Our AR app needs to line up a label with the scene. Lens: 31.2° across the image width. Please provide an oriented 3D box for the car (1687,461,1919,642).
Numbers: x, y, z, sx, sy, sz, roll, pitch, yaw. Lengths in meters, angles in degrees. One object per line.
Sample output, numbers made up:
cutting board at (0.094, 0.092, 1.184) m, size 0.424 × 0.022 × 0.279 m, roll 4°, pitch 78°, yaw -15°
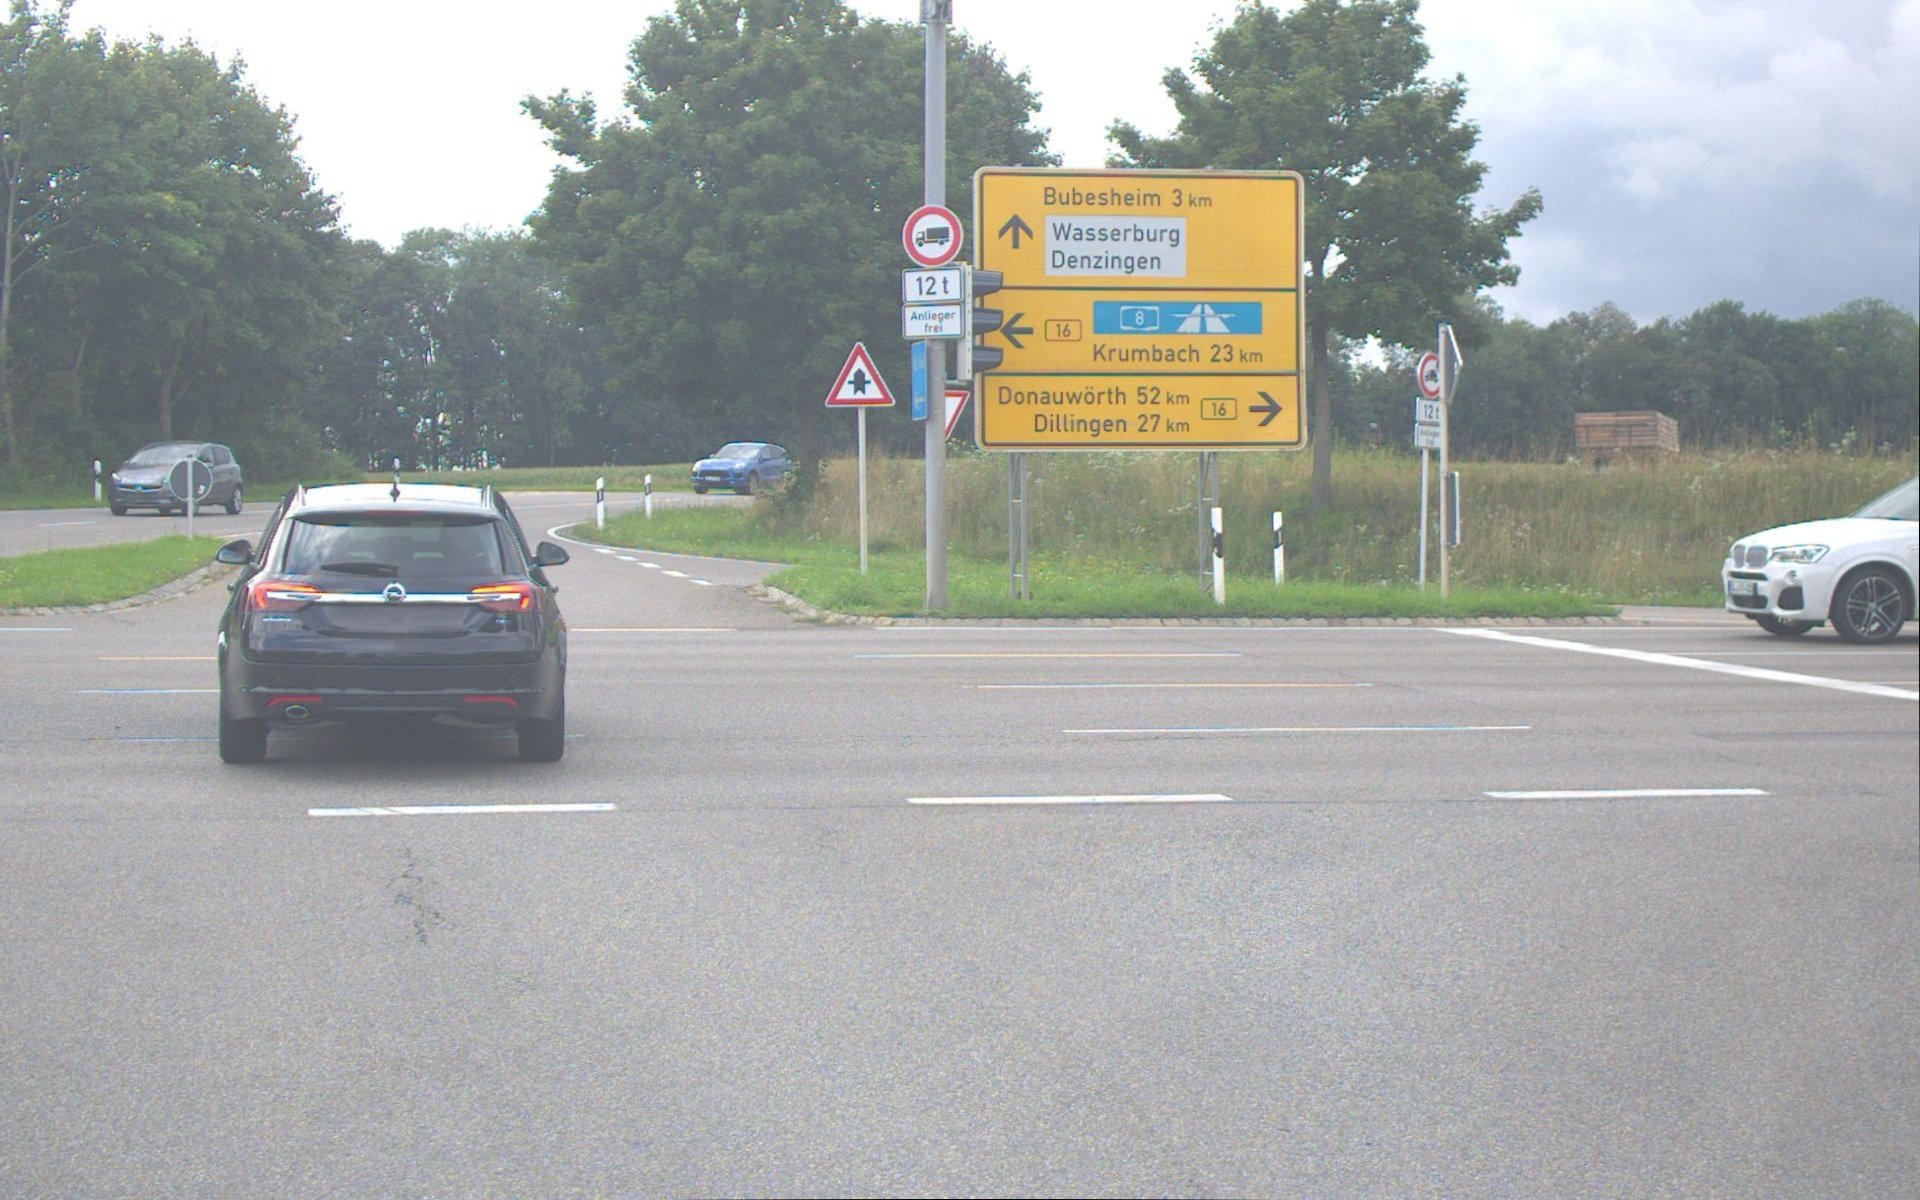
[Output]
car at (9.239, -0.448, 32.296) m, size 4.259 × 1.623 × 2.001 m, roll 0°, pitch 1°, yaw -13°

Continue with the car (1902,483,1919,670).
car at (10.482, -0.180, 28.558) m, size 4.731 × 1.559 × 2.001 m, roll 0°, pitch 1°, yaw -13°

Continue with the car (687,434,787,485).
car at (-6.982, -4.413, 108.046) m, size 1.994 × 1.565 × 4.754 m, roll 1°, pitch 2°, yaw 11°

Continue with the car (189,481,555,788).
car at (-3.269, 0.105, 19.359) m, size 1.807 × 1.445 × 4.274 m, roll 0°, pitch 3°, yaw -9°

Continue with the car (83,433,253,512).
car at (-15.884, -2.542, 69.152) m, size 1.994 × 1.530 × 3.999 m, roll 1°, pitch 1°, yaw 9°
